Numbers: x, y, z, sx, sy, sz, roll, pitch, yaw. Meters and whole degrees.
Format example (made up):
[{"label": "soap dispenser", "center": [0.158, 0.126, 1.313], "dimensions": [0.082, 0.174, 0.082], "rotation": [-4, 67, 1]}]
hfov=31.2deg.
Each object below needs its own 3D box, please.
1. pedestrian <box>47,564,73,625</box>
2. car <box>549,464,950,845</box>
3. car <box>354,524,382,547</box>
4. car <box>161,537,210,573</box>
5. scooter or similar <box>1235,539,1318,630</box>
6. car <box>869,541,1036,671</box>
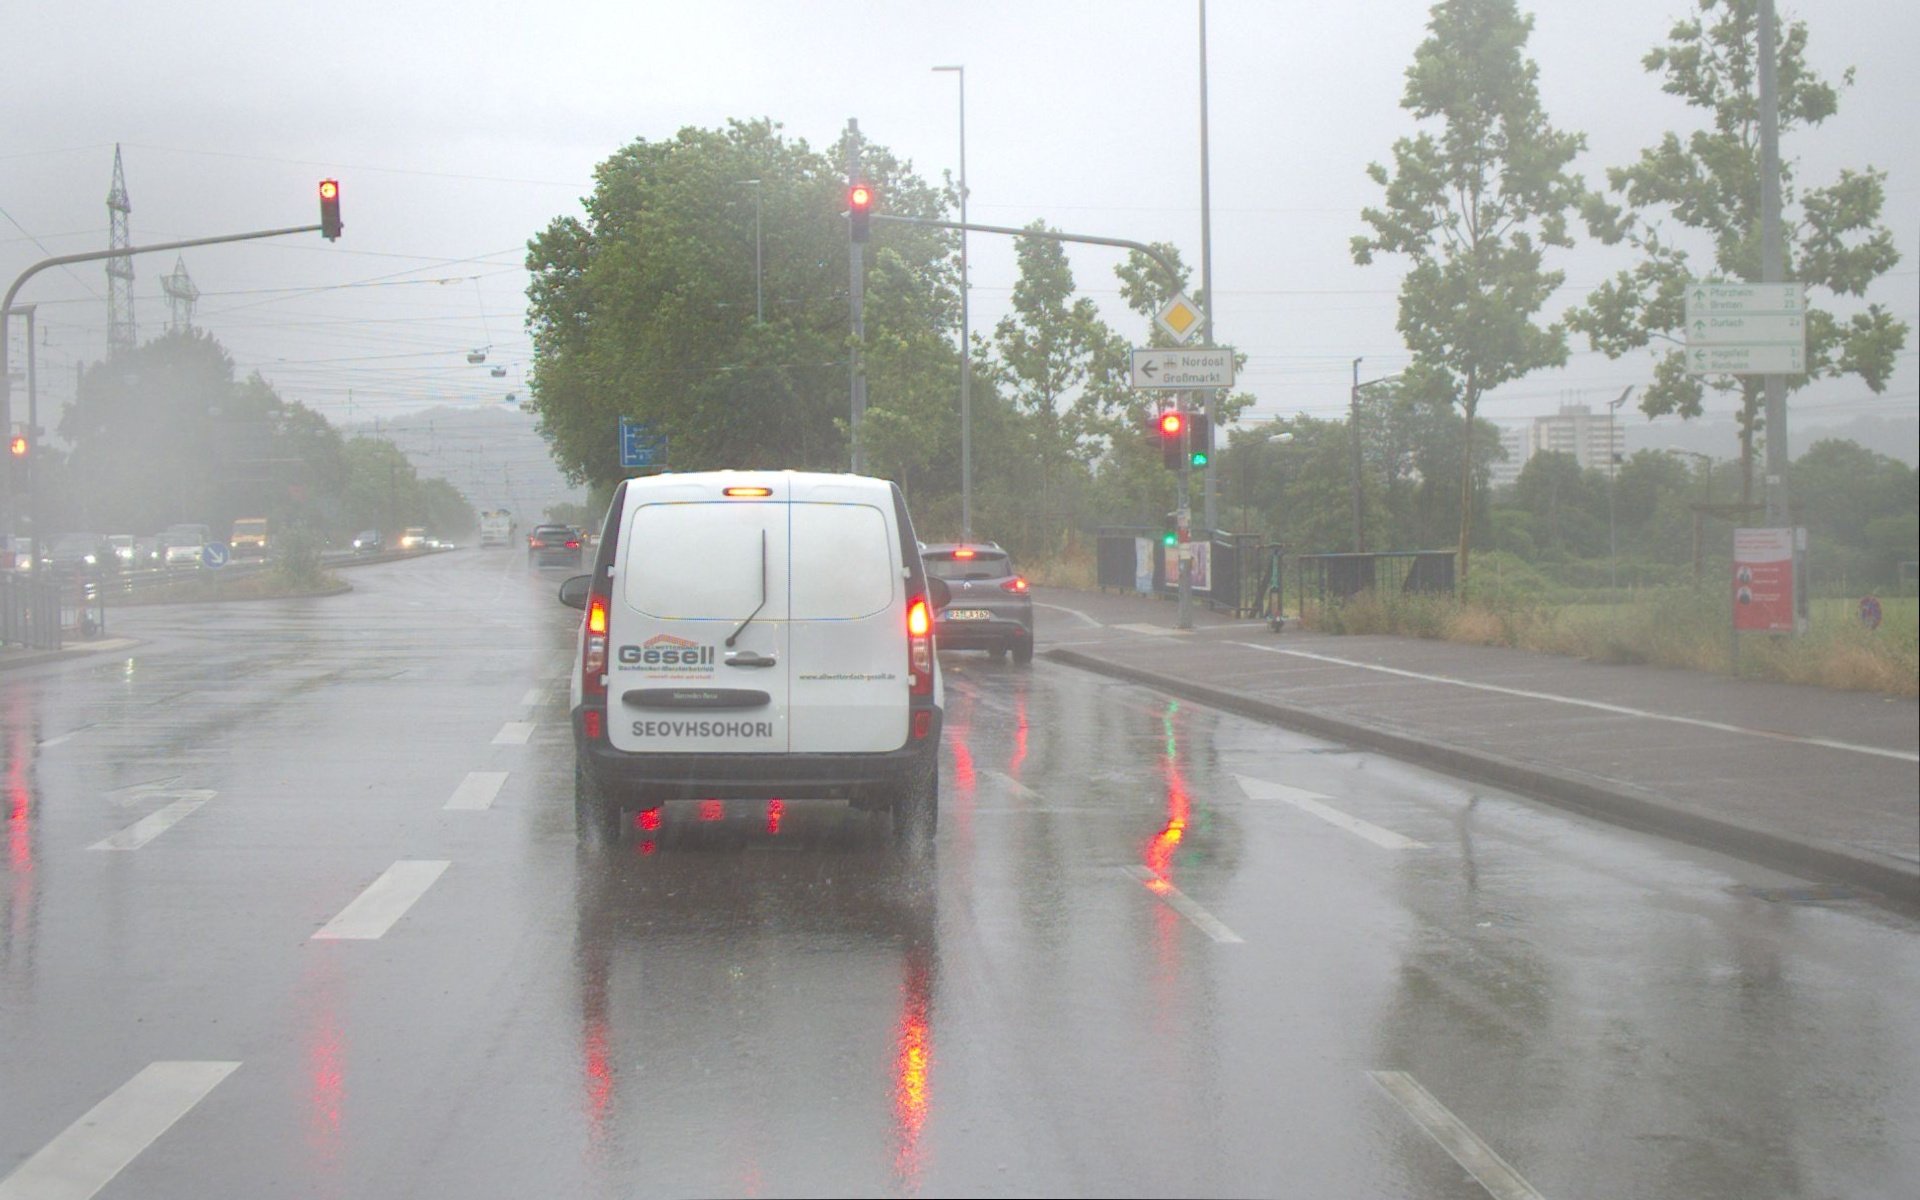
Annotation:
[{"label": "pedestrian", "center": [-13.616, -0.085, 52.023], "dimensions": [0.315, 0.894, 0.380], "rotation": [1, 1, -7]}, {"label": "car", "center": [-1.210, 0.193, 17.904], "dimensions": [1.754, 1.744, 4.170], "rotation": [0, 2, -8]}, {"label": "car", "center": [-40.705, -4.429, 236.295], "dimensions": [1.559, 1.421, 3.569], "rotation": [2, 0, -5]}, {"label": "car", "center": [-33.327, -1.924, 147.983], "dimensions": [1.559, 1.421, 3.569], "rotation": [2, 0, -5]}, {"label": "scooter or similar", "center": [4.361, -0.239, 47.554], "dimensions": [0.690, 1.207, 3.020], "rotation": [-1, 1, -3]}, {"label": "car", "center": [-0.141, 0.048, 42.216], "dimensions": [1.684, 1.503, 3.921], "rotation": [1, 1, -5]}]
